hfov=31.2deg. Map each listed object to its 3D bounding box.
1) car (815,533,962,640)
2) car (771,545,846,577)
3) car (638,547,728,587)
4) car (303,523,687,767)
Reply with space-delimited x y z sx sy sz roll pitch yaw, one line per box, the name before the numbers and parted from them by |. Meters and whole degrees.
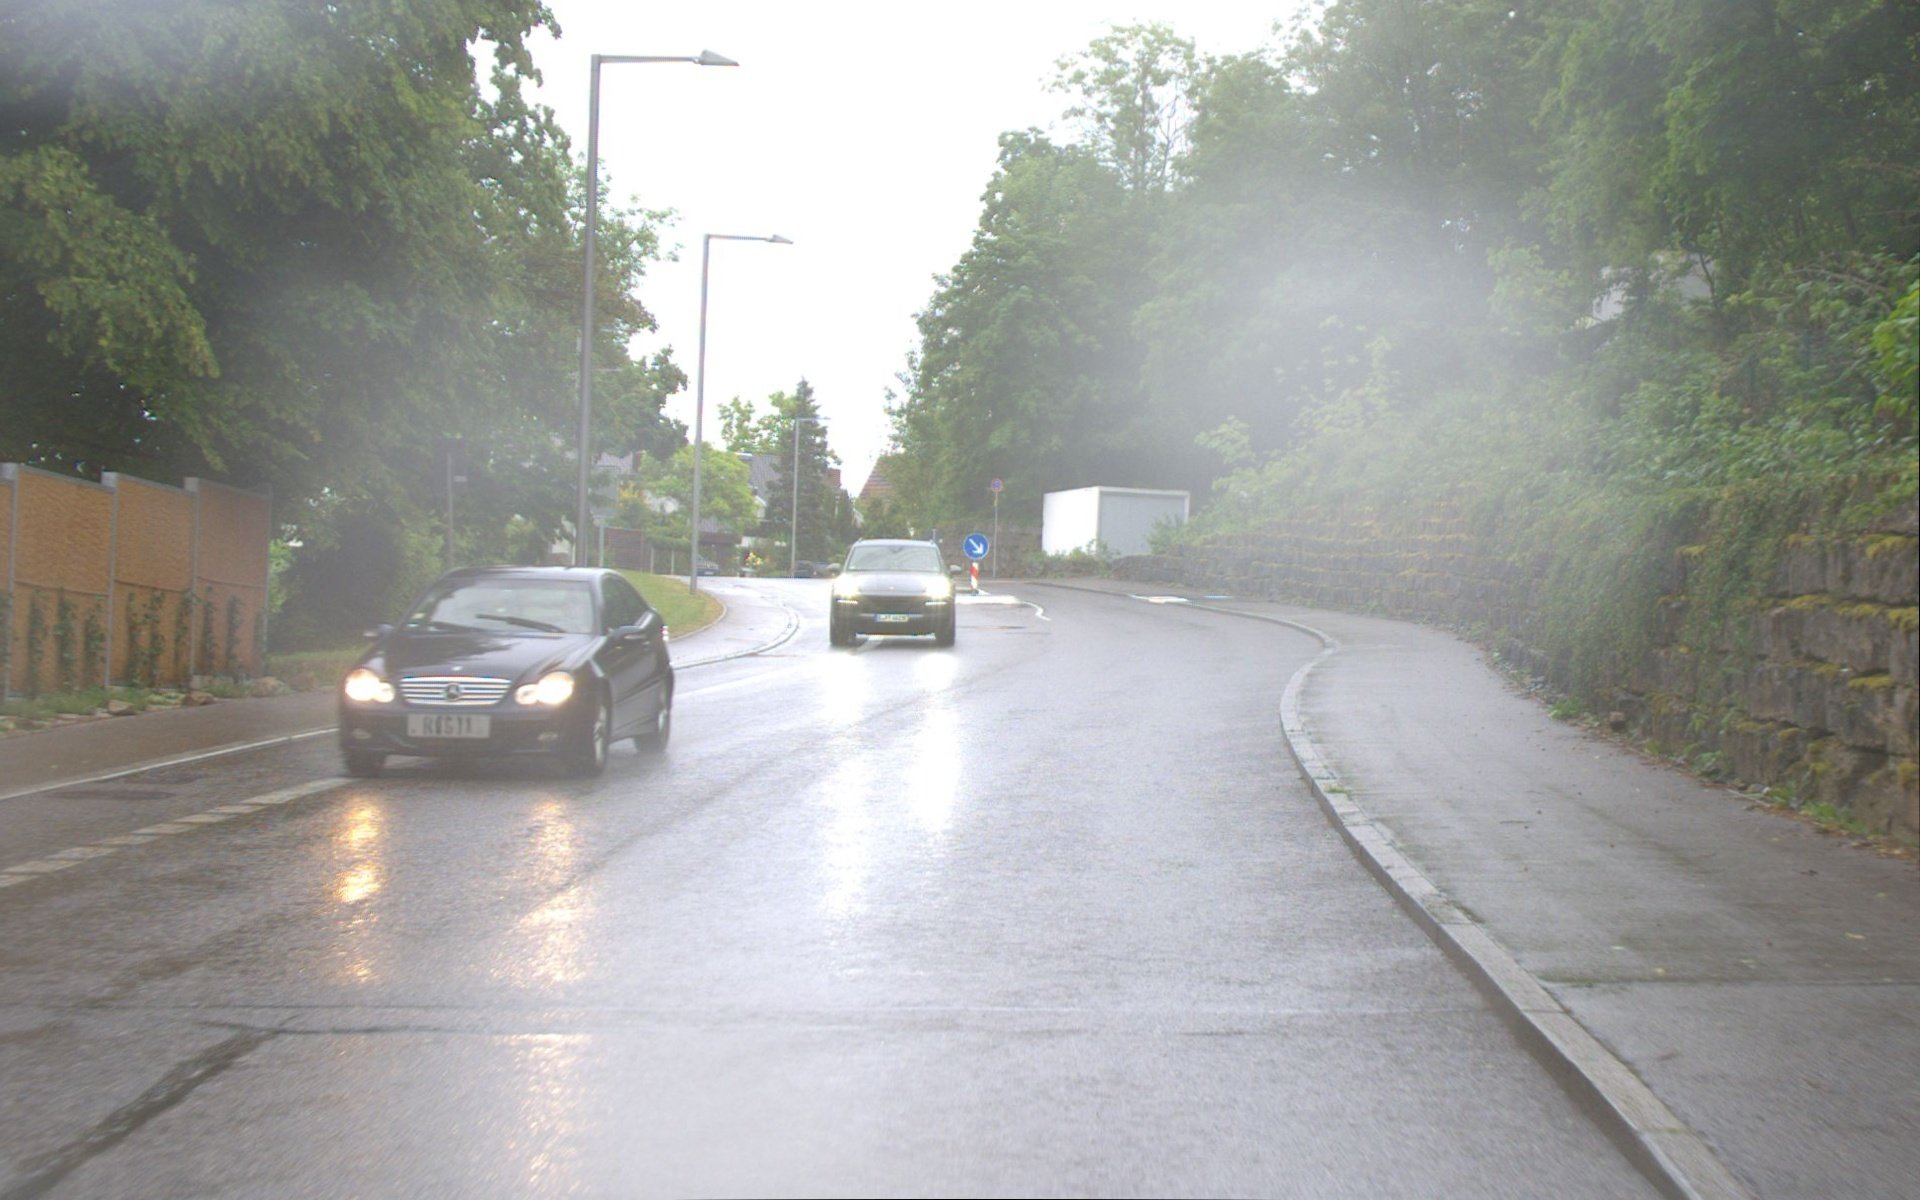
car | -1.103 -0.234 55.476 1.918 1.642 4.546 1 1 4
car | -7.614 -1.962 172.142 1.934 1.384 4.000 5 -1 -32
car | -13.190 -1.574 163.568 3.998 1.626 2.008 4 0 44
car | -3.128 0.261 23.974 1.834 1.506 4.168 2 1 4
